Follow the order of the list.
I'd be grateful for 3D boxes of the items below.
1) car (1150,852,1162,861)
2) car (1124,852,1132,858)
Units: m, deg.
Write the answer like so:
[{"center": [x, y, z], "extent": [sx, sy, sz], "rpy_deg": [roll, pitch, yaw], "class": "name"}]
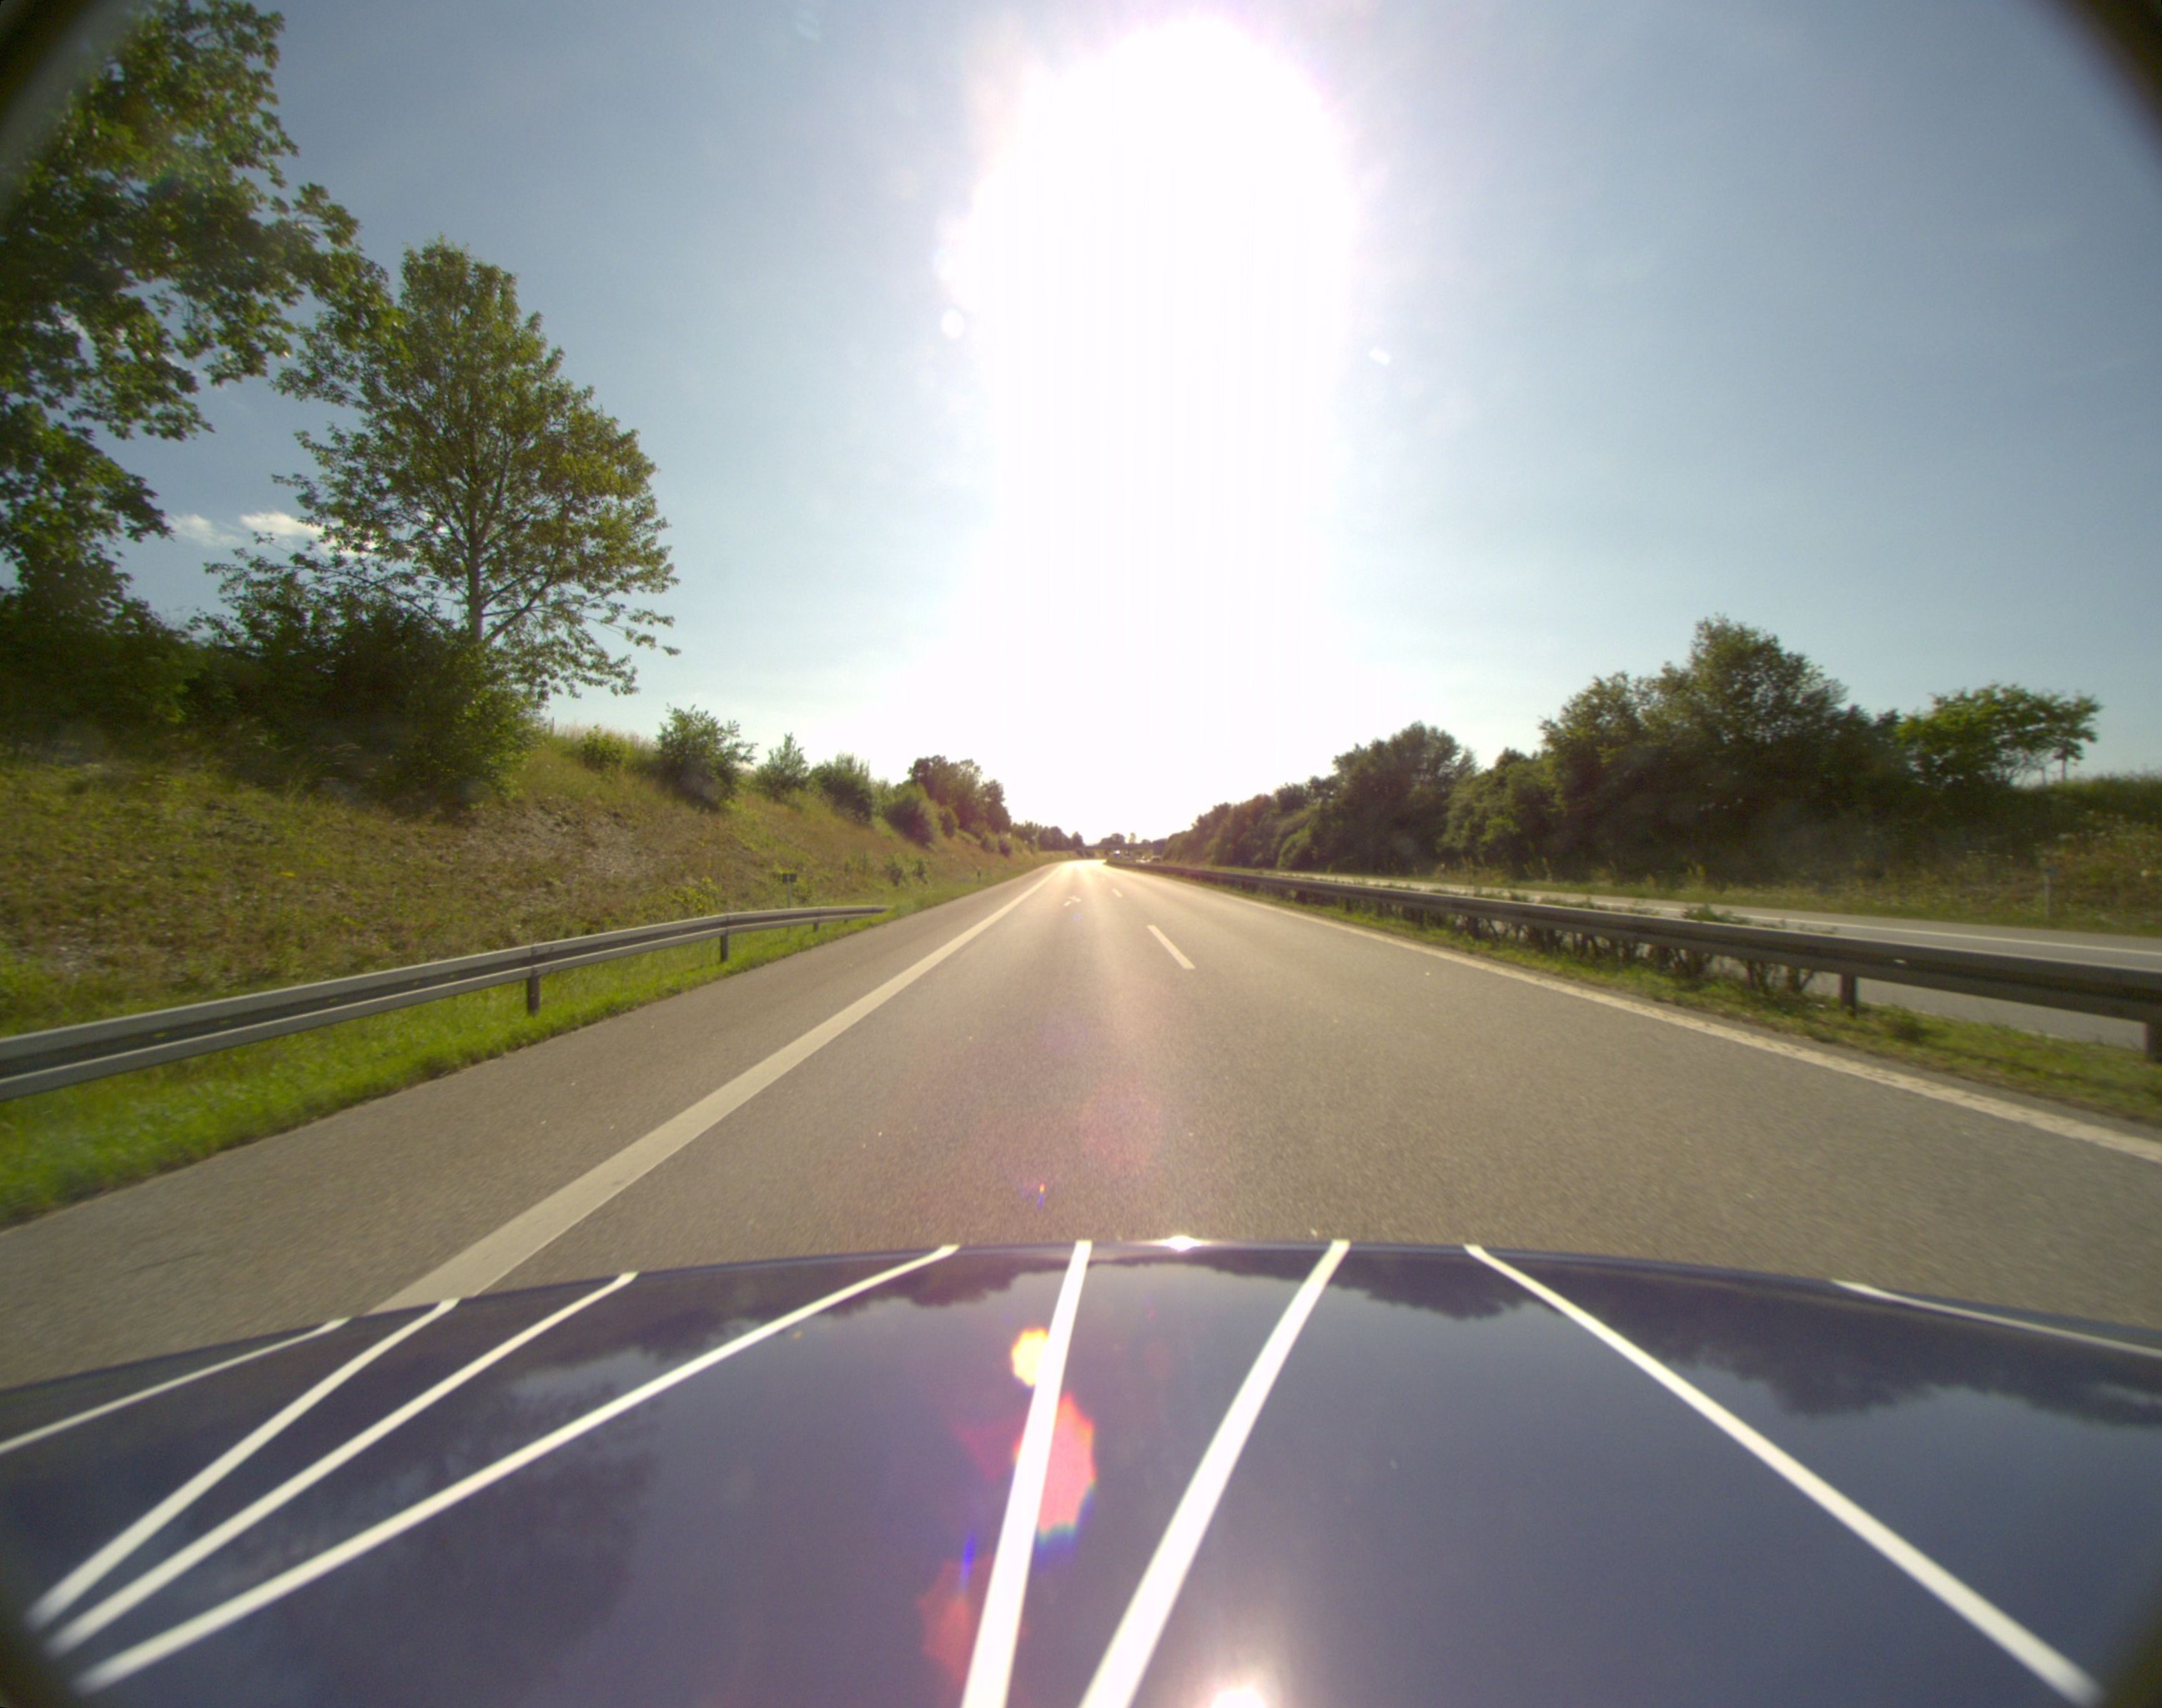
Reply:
[{"center": [13.799, 0.447, 139.856], "extent": [1.772, 1.575, 4.792], "rpy_deg": [0, 0, 0], "class": "car"}, {"center": [12.803, 0.360, 205.860], "extent": [1.772, 1.485, 4.228], "rpy_deg": [2, 0, 0], "class": "car"}]
